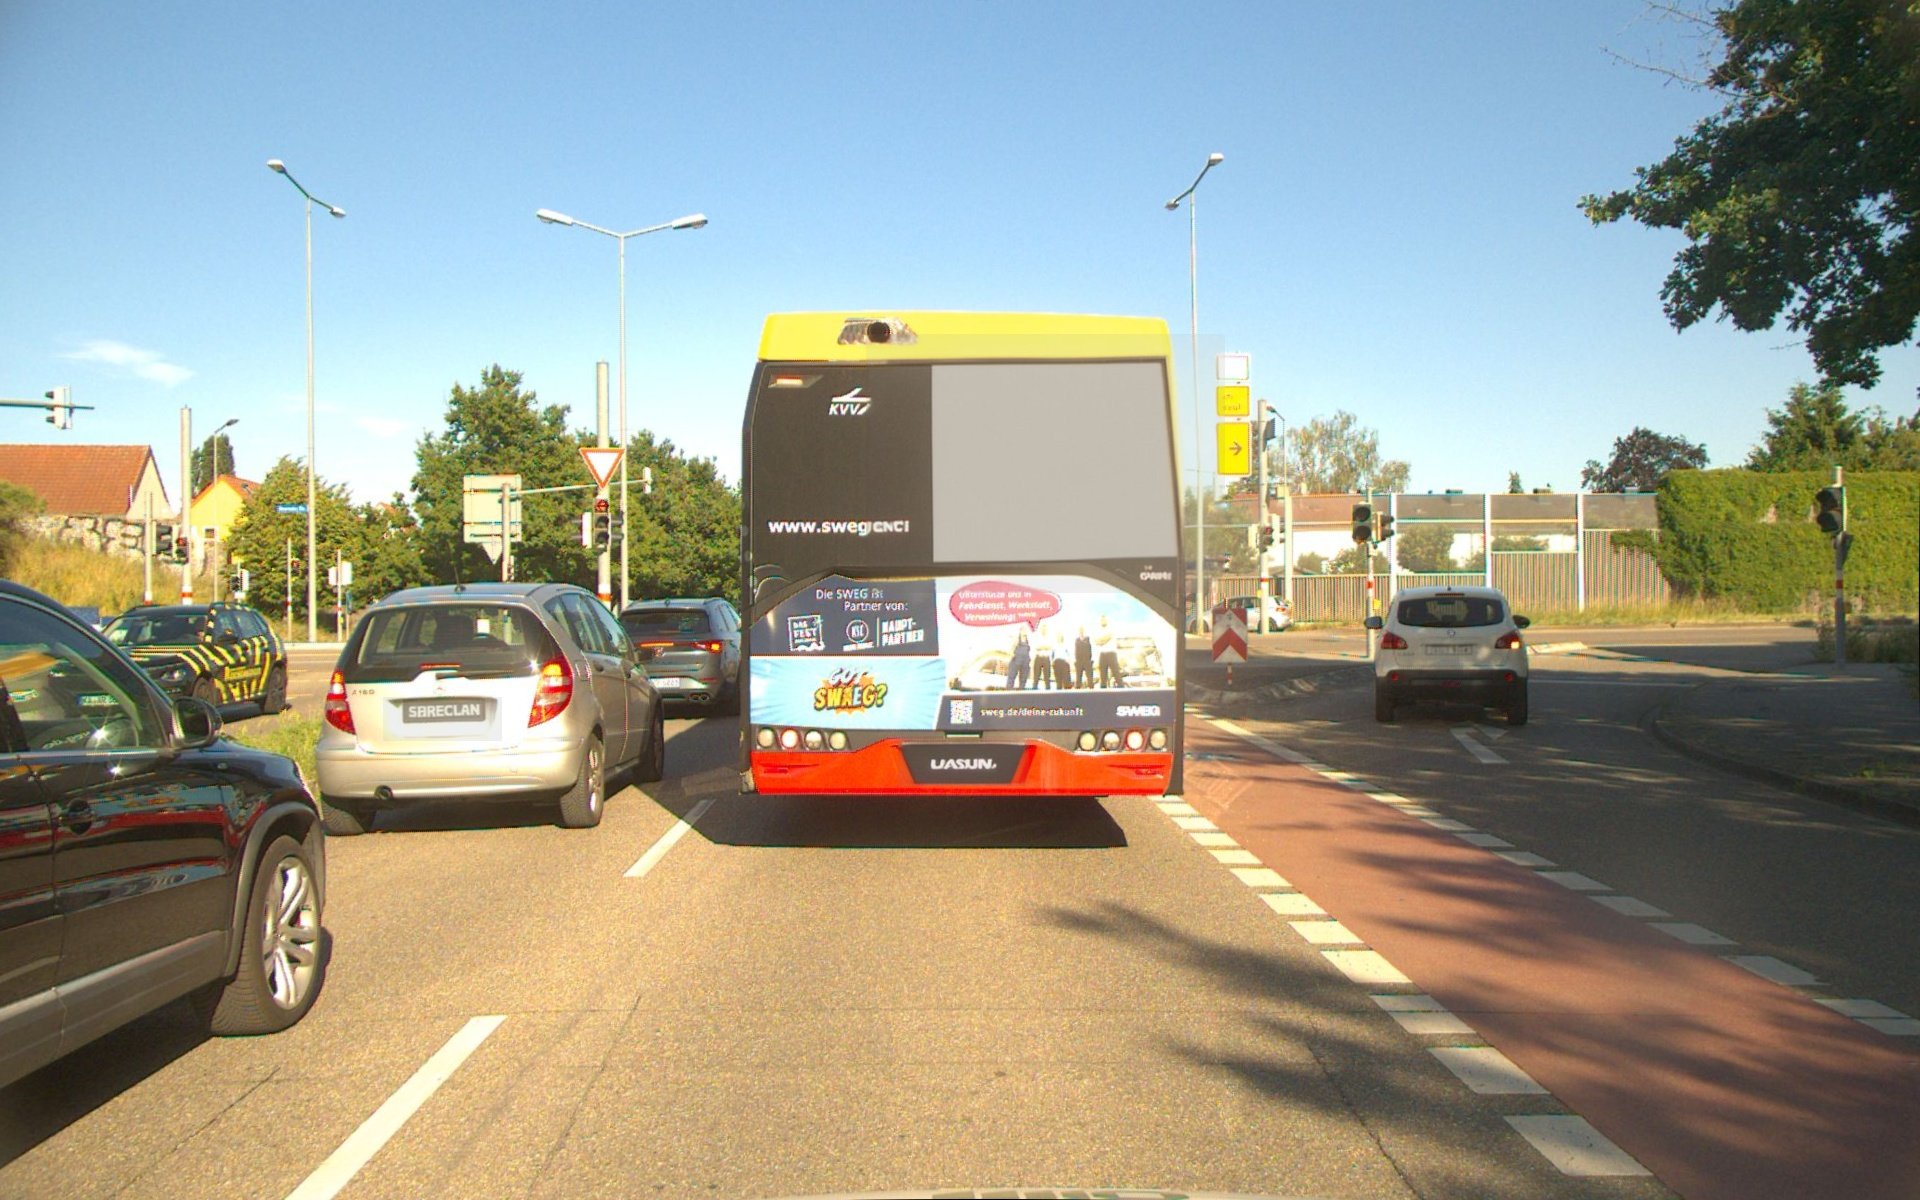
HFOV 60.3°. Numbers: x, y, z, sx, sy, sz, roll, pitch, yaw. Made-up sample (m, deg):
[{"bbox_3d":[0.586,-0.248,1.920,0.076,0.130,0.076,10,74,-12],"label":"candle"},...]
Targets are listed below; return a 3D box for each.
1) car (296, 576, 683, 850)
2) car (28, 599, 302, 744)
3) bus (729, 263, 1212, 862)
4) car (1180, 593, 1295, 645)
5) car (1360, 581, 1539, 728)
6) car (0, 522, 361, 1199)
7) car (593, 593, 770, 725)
[{"bbox_3d":[-3.214,0.681,12.130,1.725,1.617,3.999,-2,0,-1],"label":"car"},{"bbox_3d":[-10.094,0.833,21.355,1.728,1.552,4.078,-2,1,-4],"label":"car"},{"bbox_3d":[0.024,-0.255,14.893,2.589,3.222,11.860,0,0,0],"label":"bus"},{"bbox_3d":[10.298,0.691,61.292,3.905,1.847,1.923,1,0,21],"label":"car"},{"bbox_3d":[6.033,0.604,20.792,1.681,1.635,4.071,1,0,10],"label":"car"},{"bbox_3d":[-3.142,0.686,4.303,1.736,1.682,3.999,-2,0,-1],"label":"car"},{"bbox_3d":[-3.447,0.675,21.058,1.658,1.484,3.750,-2,0,-1],"label":"car"}]
